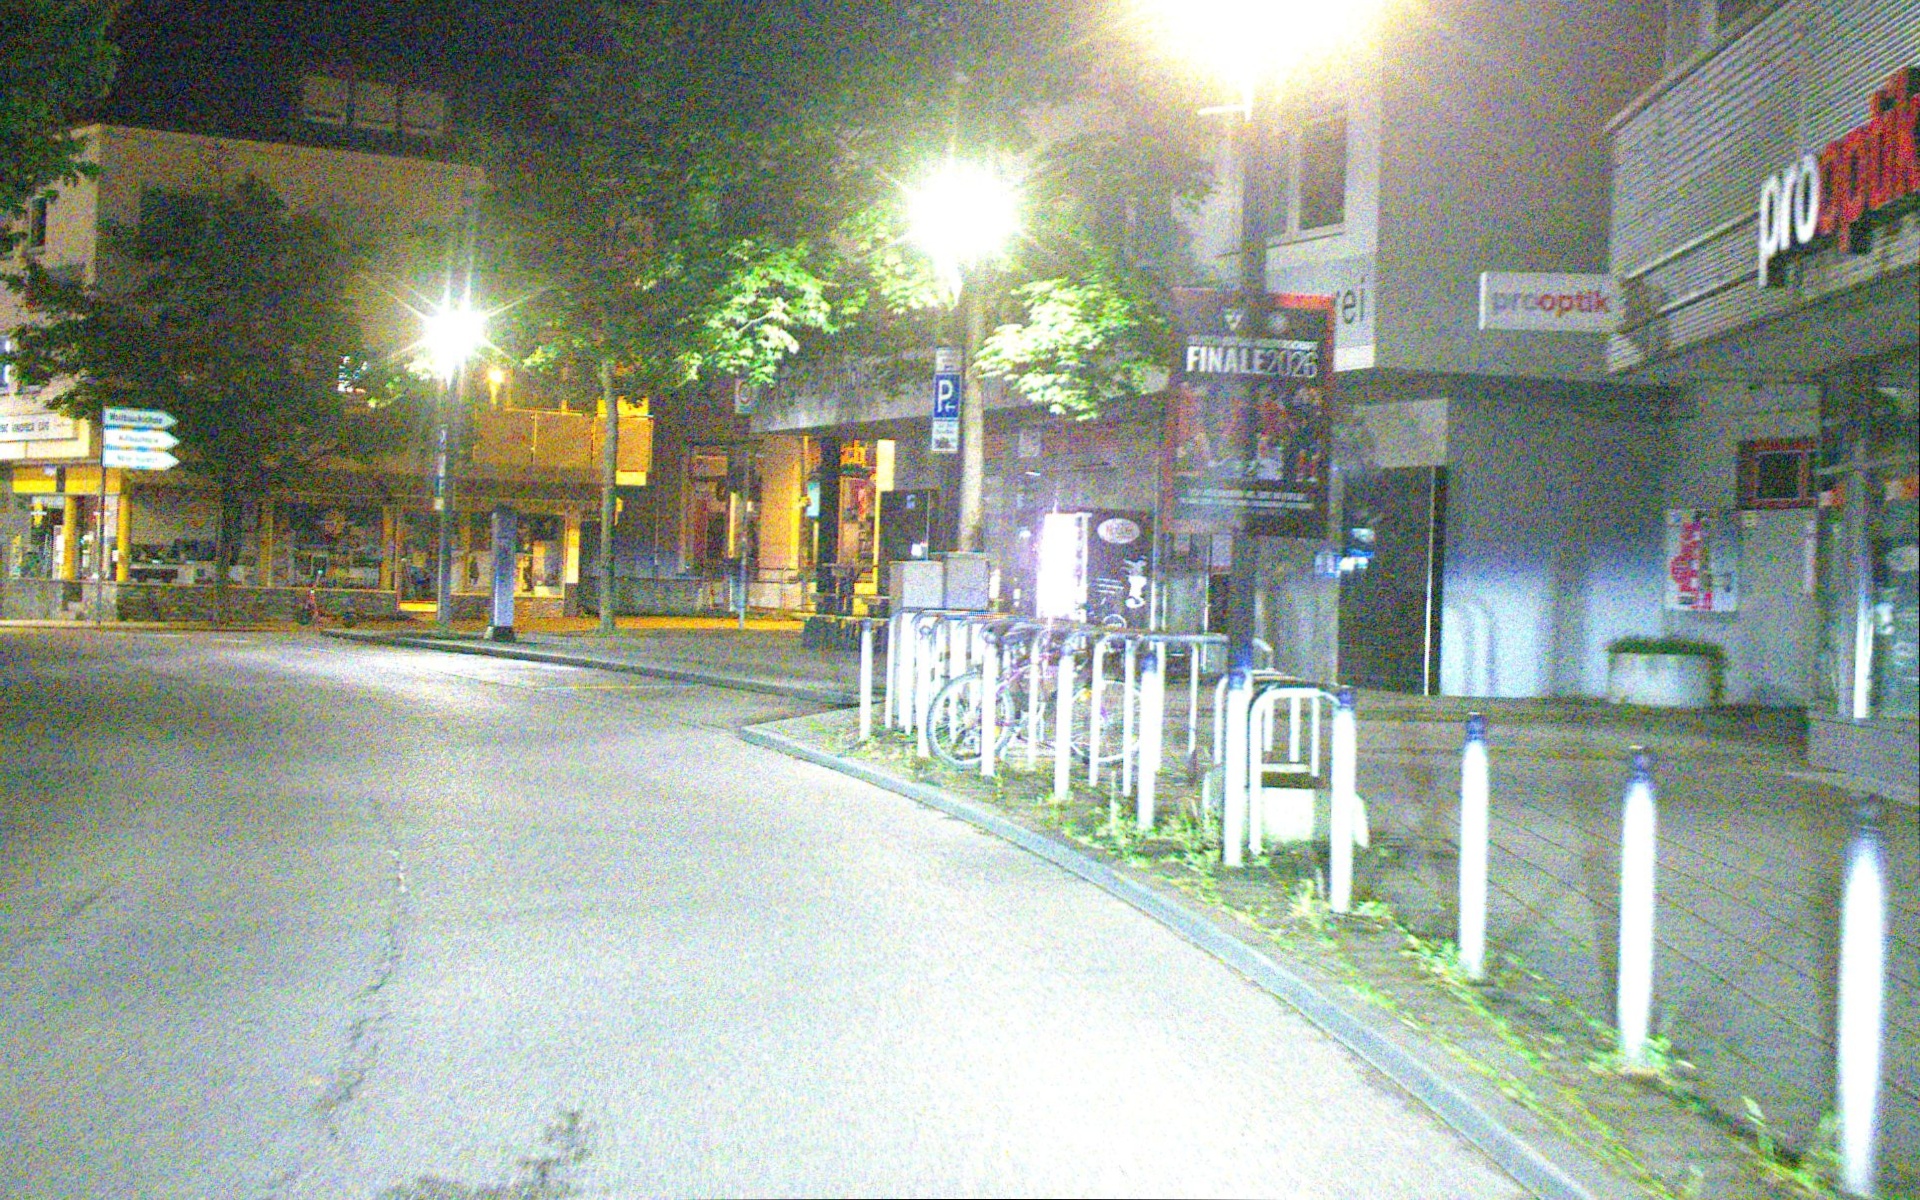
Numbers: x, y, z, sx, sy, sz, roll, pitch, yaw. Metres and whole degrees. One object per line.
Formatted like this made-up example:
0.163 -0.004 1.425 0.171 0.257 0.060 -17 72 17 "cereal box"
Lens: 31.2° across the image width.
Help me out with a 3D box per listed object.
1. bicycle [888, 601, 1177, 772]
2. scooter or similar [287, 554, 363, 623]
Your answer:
0.476 0.567 22.533 1.749 1.059 0.656 1 1 -23 "bicycle"
-12.107 -0.220 65.513 1.246 1.223 0.598 3 1 -26 "scooter or similar"
